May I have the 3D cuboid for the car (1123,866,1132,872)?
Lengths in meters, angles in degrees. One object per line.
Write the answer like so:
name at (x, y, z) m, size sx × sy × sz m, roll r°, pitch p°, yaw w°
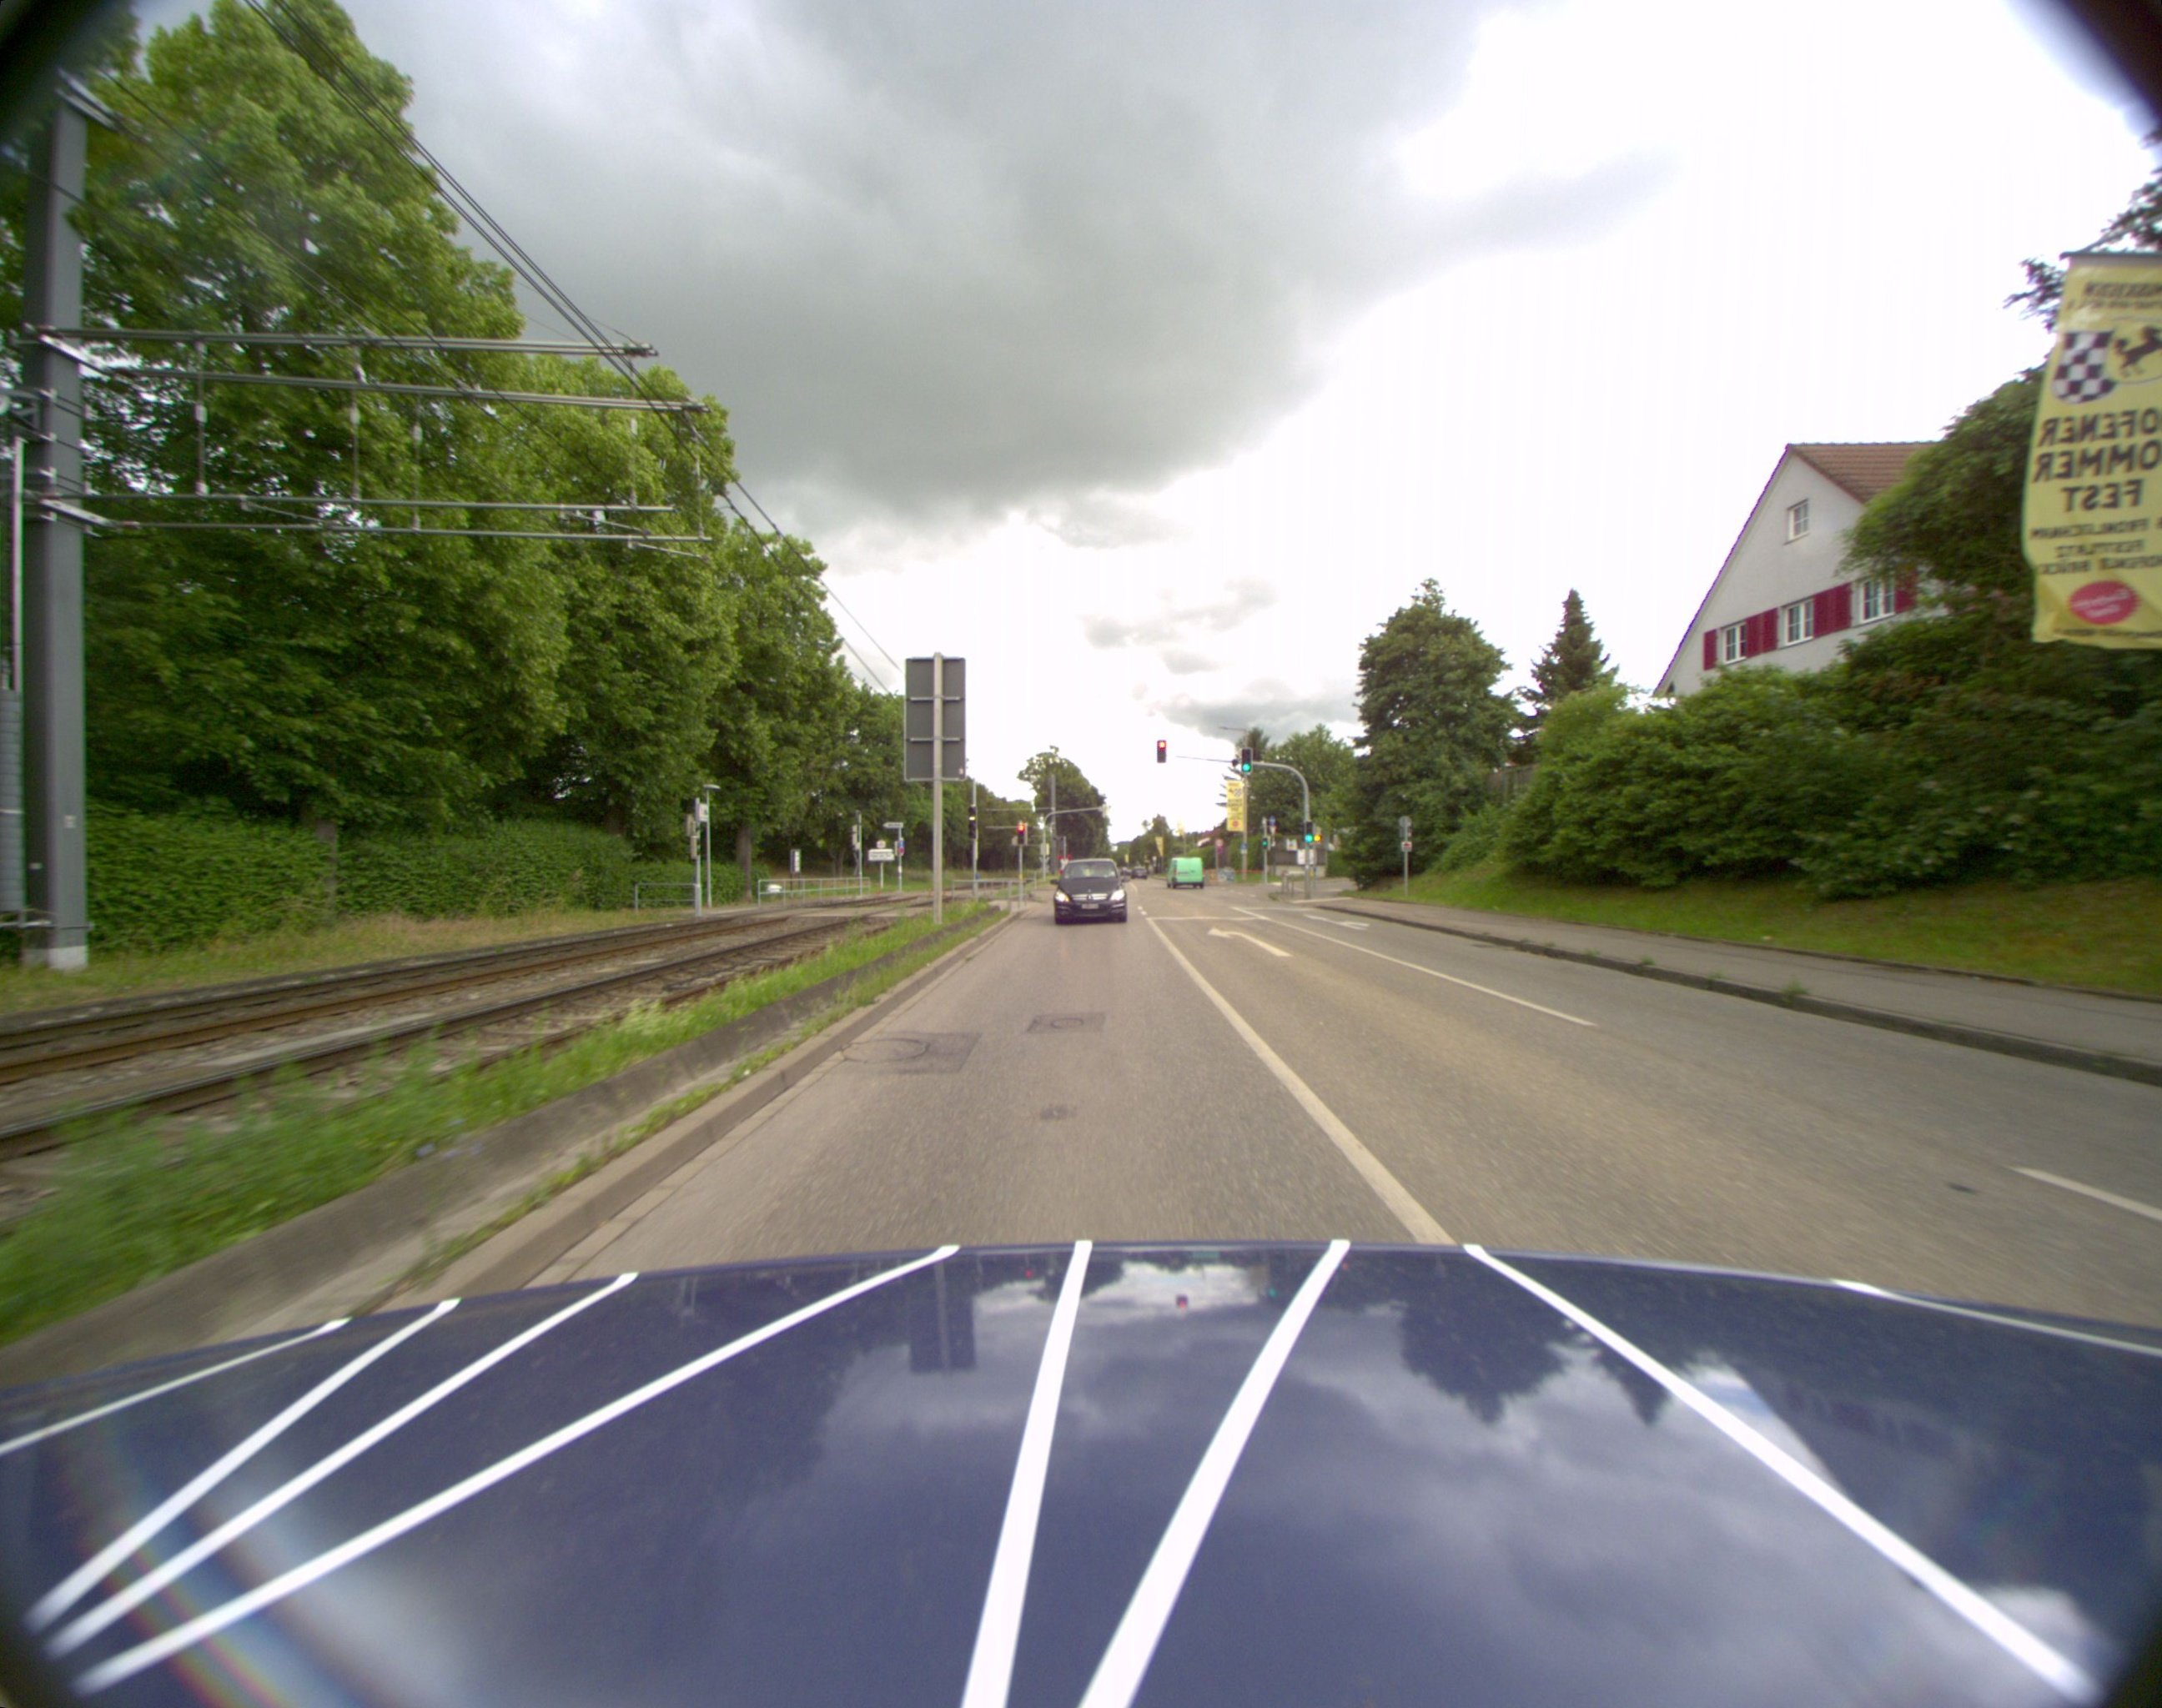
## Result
car at (11.027, 3.575, 180.278) m, size 1.903 × 1.569 × 4.122 m, roll 0°, pitch -1°, yaw 2°

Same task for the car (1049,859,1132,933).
car at (0.263, 0.936, 18.717) m, size 1.749 × 1.558 × 4.122 m, roll -3°, pitch 0°, yaw 1°

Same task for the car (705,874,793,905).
car at (-18.269, 1.947, 41.981) m, size 3.997 × 1.376 × 1.785 m, roll -4°, pitch -1°, yaw -1°

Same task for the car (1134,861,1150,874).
car at (8.014, 1.777, 100.541) m, size 1.903 × 1.569 × 4.280 m, roll 0°, pitch -1°, yaw 2°

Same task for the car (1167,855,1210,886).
car at (6.591, 0.991, 47.140) m, size 2.063 × 1.799 × 4.730 m, roll 0°, pitch 0°, yaw 1°
